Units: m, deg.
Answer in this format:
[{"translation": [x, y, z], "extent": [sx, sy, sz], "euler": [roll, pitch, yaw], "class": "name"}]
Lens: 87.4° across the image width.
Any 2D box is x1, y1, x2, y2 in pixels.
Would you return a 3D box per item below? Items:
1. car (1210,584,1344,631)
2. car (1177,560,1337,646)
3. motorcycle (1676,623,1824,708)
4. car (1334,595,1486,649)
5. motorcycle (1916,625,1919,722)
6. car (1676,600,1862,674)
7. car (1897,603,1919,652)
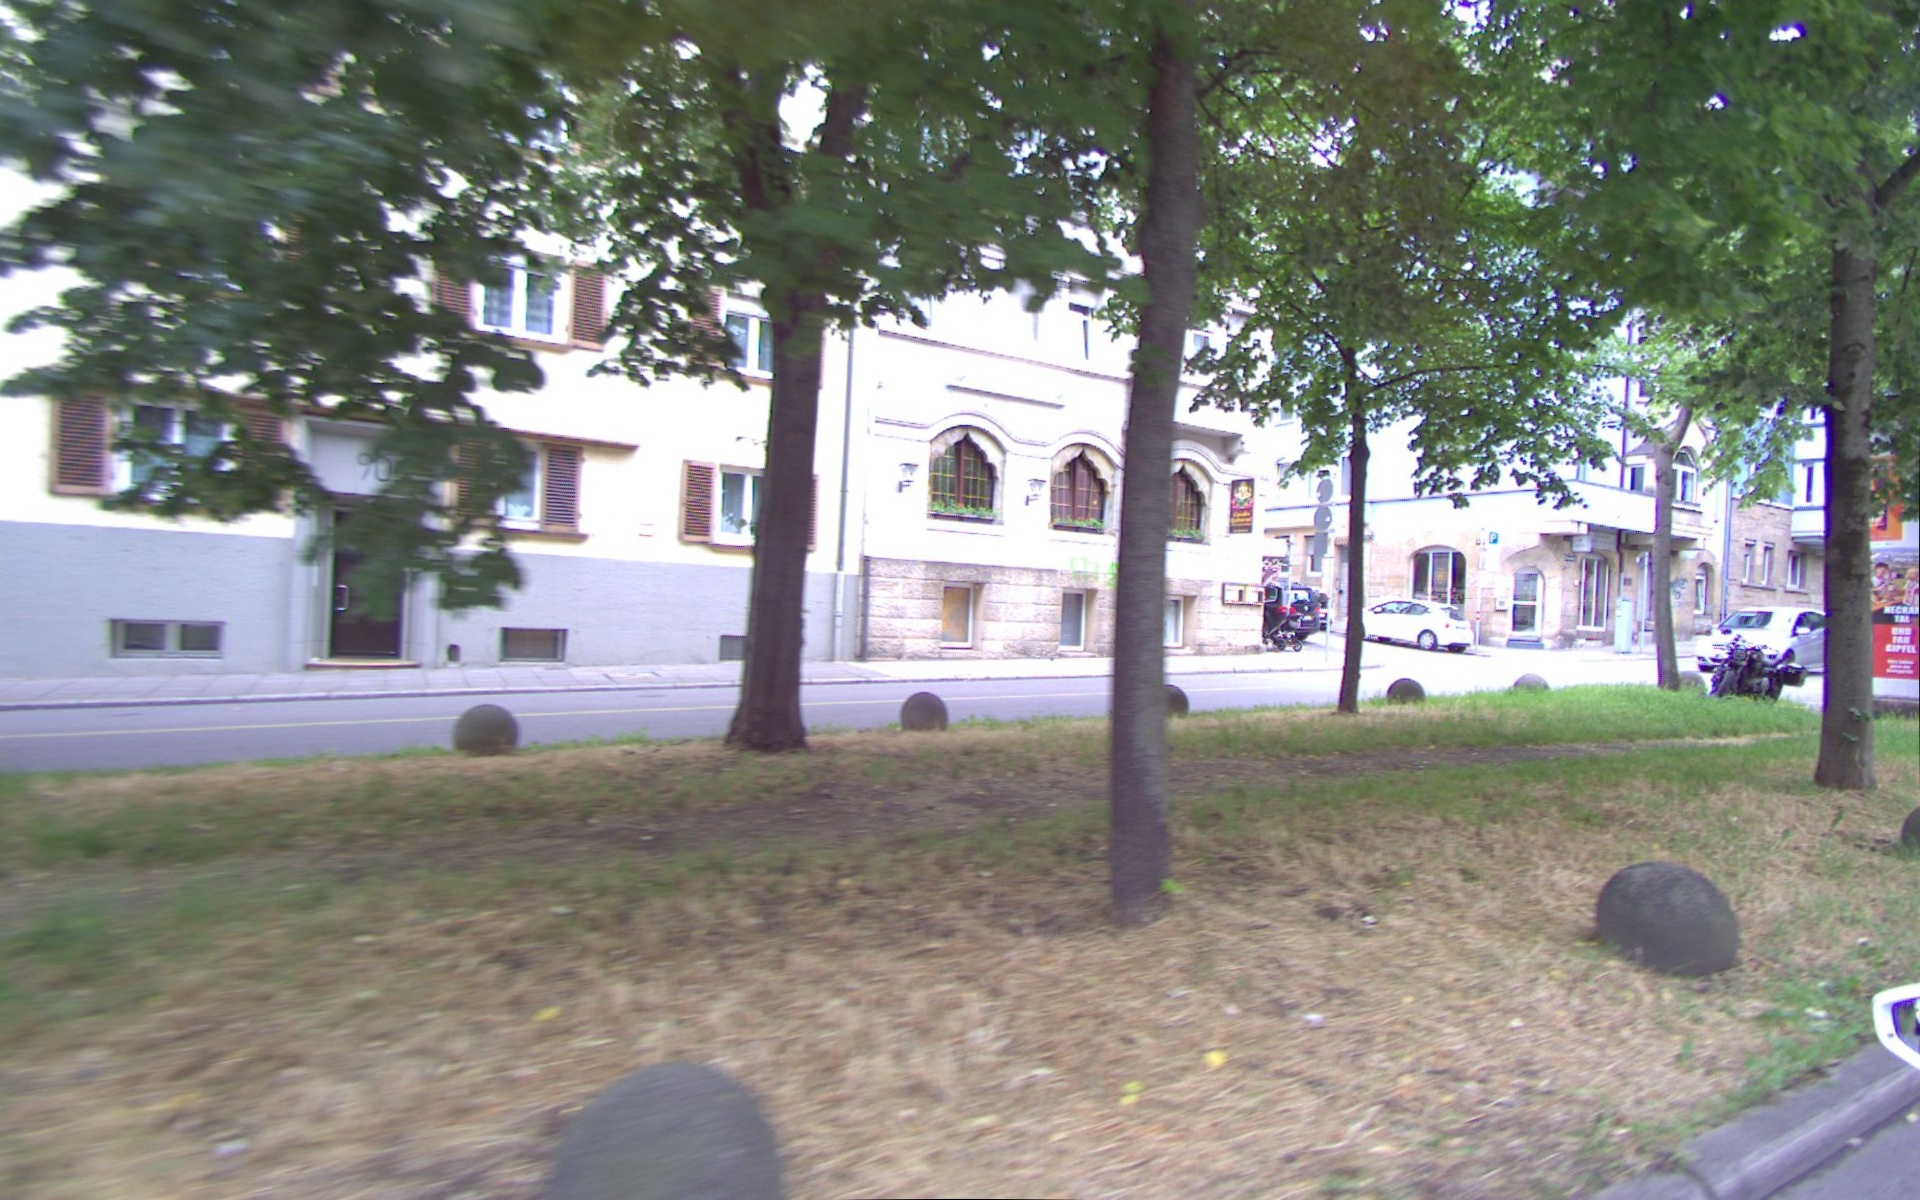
[{"translation": [11.449, 0.239, 36.631], "extent": [1.973, 1.598, 4.785], "euler": [1, 1, -25], "class": "car"}, {"translation": [9.066, 0.005, 31.154], "extent": [1.973, 2.081, 4.784], "euler": [0, 6, -25], "class": "car"}, {"translation": [11.355, 0.934, 14.428], "extent": [2.225, 1.121, 0.896], "euler": [3, -1, -30], "class": "motorcycle"}, {"translation": [14.024, 0.645, 31.512], "extent": [1.976, 1.517, 3.968], "euler": [1, 1, -30], "class": "car"}, {"translation": [12.760, 0.895, 12.170], "extent": [2.419, 1.164, 1.057], "euler": [1, 0, -30], "class": "motorcycle"}, {"translation": [19.932, 0.854, 24.709], "extent": [4.759, 1.646, 1.984], "euler": [1, 1, -30], "class": "car"}, {"translation": [31.756, 0.888, 31.698], "extent": [4.478, 1.503, 1.984], "euler": [1, 1, -30], "class": "car"}]
